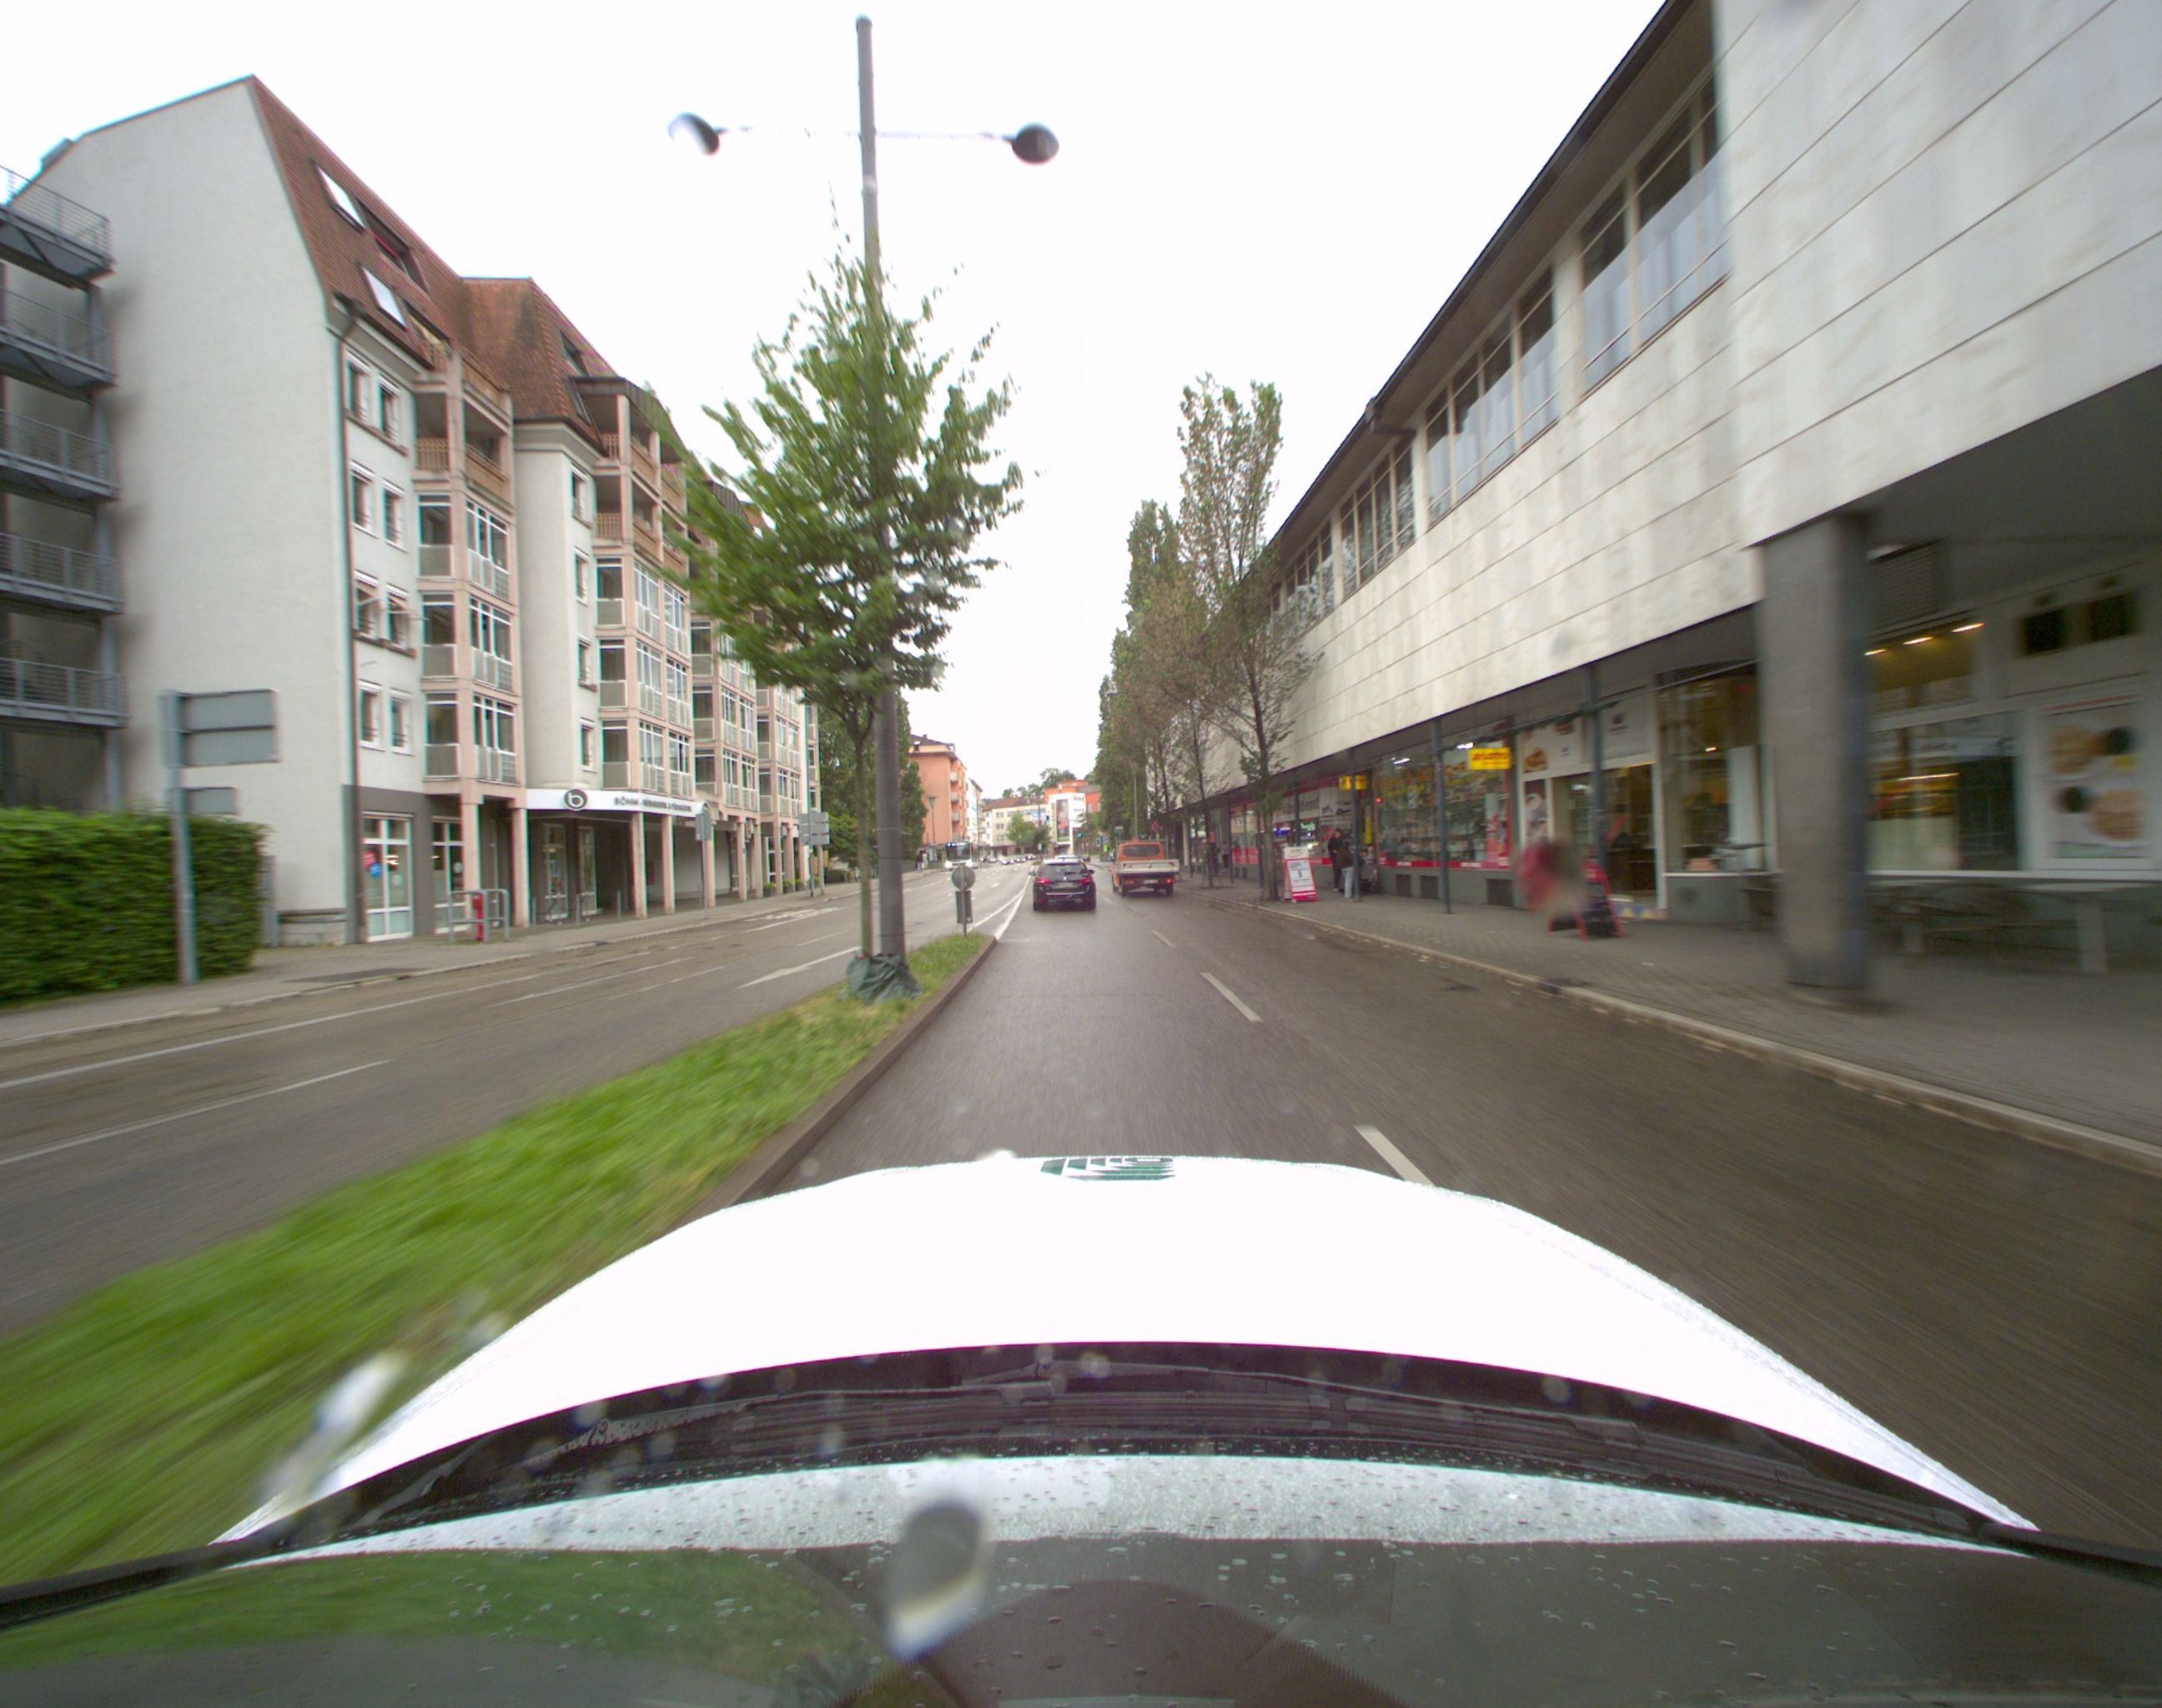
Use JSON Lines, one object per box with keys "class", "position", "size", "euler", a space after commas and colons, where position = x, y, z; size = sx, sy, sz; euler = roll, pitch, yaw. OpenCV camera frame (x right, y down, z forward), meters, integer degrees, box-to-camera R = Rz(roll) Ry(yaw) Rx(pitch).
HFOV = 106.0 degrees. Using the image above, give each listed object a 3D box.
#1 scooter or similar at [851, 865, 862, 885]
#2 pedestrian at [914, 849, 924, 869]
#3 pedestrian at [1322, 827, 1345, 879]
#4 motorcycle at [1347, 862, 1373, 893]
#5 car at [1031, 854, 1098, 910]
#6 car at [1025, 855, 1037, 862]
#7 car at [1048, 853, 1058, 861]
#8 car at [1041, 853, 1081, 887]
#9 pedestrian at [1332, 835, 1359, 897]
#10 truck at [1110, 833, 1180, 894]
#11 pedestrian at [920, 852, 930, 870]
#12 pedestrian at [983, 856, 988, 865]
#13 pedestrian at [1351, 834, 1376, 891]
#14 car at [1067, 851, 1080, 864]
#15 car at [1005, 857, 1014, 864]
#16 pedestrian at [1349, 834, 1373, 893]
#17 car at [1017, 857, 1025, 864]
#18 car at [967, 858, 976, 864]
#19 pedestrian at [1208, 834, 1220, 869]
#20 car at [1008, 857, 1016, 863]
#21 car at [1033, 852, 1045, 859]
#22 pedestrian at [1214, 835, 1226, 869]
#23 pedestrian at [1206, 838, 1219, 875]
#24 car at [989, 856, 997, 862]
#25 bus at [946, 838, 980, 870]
{"class": "scooter or similar", "position": [-16.308, 1.514, 59.245], "size": [0.481, 1.313, 1.568], "euler": [-3, 2, -7]}
{"class": "pedestrian", "position": [-14.943, 0.450, 75.042], "size": [0.696, 1.794, 0.958], "euler": [-2, -1, 0]}
{"class": "pedestrian", "position": [7.707, -0.033, 24.839], "size": [0.425, 1.566, 0.513], "euler": [-3, 0, 43]}
{"class": "motorcycle", "position": [7.584, 0.632, 22.175], "size": [0.323, 0.804, 0.919], "euler": [-3, 1, -3]}
{"class": "car", "position": [-0.459, 0.779, 24.029], "size": [1.789, 1.483, 3.998], "euler": [-1, -1, -1]}
{"class": "car", "position": [-12.401, 1.125, 201.025], "size": [1.654, 1.564, 3.567], "euler": [2, -3, -27]}
{"class": "car", "position": [-6.626, 0.660, 193.450], "size": [1.993, 1.684, 3.988], "euler": [-3, 0, -9]}
{"class": "car", "position": [-0.923, 0.745, 39.658], "size": [1.789, 1.483, 3.999], "euler": [-3, 0, 0]}
{"class": "pedestrian", "position": [6.901, 0.313, 21.241], "size": [0.428, 1.566, 0.509], "euler": [-3, 0, -4]}
{"class": "truck", "position": [2.273, 0.363, 30.091], "size": [2.115, 2.025, 4.713], "euler": [-1, -1, -1]}
{"class": "pedestrian", "position": [-15.872, 0.702, 82.821], "size": [0.794, 1.794, 0.812], "euler": [-1, -1, -1]}
{"class": "pedestrian", "position": [-19.844, 1.358, 169.068], "size": [0.731, 2.014, 0.650], "euler": [2, -4, -36]}
{"class": "pedestrian", "position": [7.860, 0.232, 22.675], "size": [0.427, 1.566, 0.510], "euler": [-3, 0, 1]}
{"class": "car", "position": [-0.988, 0.432, 108.818], "size": [1.641, 1.564, 3.595], "euler": [0, -3, -3]}
{"class": "car", "position": [-14.658, 1.390, 166.999], "size": [1.788, 1.325, 4.401], "euler": [-3, 0, -3]}
{"class": "pedestrian", "position": [7.620, 0.254, 22.154], "size": [0.386, 1.566, 0.429], "euler": [-3, 0, -6]}
{"class": "car", "position": [-13.533, 1.448, 183.734], "size": [1.788, 1.325, 4.401], "euler": [-3, 0, -3]}
{"class": "car", "position": [-25.816, 1.668, 192.324], "size": [1.661, 1.399, 3.872], "euler": [-3, 0, -3]}
{"class": "pedestrian", "position": [6.792, -0.130, 41.567], "size": [0.534, 1.718, 0.535], "euler": [-3, 0, 5]}
{"class": "car", "position": [-16.509, 1.473, 194.673], "size": [1.661, 1.399, 3.872], "euler": [-3, 0, -3]}
{"class": "car", "position": [-10.591, 0.467, 205.023], "size": [1.654, 1.564, 3.567], "euler": [2, -3, -27]}
{"class": "pedestrian", "position": [7.196, -0.110, 42.154], "size": [0.533, 1.718, 0.535], "euler": [-3, 0, 7]}
{"class": "pedestrian", "position": [6.600, 0.129, 40.822], "size": [0.534, 1.820, 0.535], "euler": [-3, 0, 5]}
{"class": "car", "position": [-21.780, 1.292, 201.949], "size": [1.661, 1.399, 3.872], "euler": [-3, 0, -3]}
{"class": "bus", "position": [-12.404, -0.114, 86.505], "size": [2.739, 3.075, 12.218], "euler": [-2, 1, -5]}
